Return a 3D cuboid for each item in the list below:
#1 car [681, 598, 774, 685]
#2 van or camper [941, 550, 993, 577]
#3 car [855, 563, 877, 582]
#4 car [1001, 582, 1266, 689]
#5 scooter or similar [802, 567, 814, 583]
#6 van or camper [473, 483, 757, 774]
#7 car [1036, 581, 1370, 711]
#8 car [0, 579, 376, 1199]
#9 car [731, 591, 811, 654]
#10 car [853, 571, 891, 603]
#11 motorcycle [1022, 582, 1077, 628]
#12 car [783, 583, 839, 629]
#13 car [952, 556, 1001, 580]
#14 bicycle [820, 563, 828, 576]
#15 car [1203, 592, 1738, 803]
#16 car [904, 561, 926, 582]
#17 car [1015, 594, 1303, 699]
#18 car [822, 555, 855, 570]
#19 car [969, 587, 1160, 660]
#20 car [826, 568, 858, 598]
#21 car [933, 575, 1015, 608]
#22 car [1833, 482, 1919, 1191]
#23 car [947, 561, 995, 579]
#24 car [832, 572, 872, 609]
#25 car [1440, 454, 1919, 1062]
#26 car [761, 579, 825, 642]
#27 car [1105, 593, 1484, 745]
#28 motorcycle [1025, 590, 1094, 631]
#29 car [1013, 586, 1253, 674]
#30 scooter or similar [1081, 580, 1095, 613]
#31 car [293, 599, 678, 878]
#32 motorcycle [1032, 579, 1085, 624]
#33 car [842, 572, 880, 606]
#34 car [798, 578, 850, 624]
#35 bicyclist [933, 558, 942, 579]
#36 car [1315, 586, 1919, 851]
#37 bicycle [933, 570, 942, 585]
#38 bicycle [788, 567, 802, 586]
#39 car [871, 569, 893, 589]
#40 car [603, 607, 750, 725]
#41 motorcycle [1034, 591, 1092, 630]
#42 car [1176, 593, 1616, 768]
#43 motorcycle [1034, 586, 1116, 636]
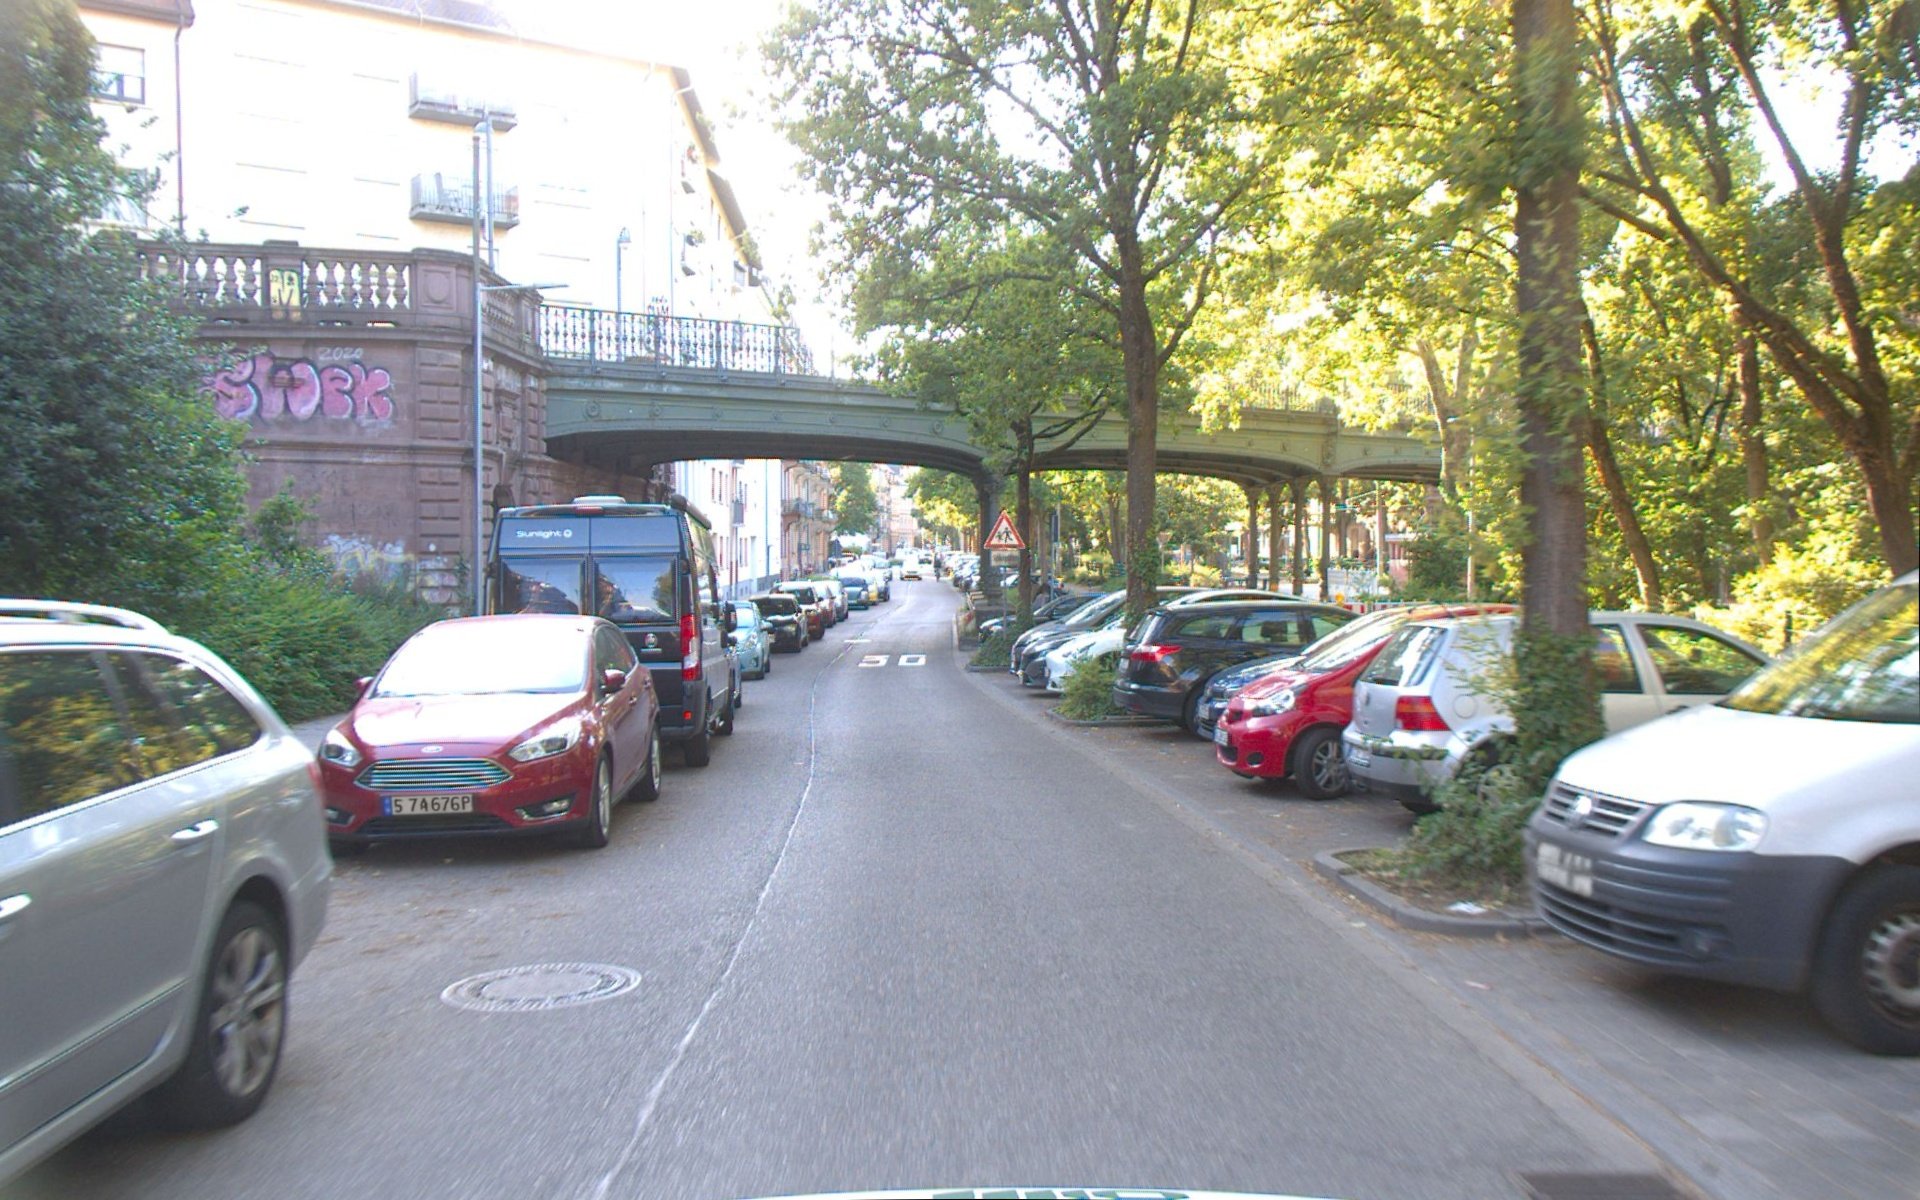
[{"bbox_3d":[-4.688,0.796,33.779,1.563,1.574,3.912,-2,1,-4],"label":"car"},{"bbox_3d":[0.696,-3.490,159.181,4.882,2.419,2.183,1,0,-4],"label":"van or camper"},{"bbox_3d":[-7.905,-2.351,139.009,1.640,1.479,4.210,-2,2,-1],"label":"car"},{"bbox_3d":[2.968,0.601,28.784,4.290,1.738,1.905,1,0,-6],"label":"car"},{"bbox_3d":[-12.013,-1.993,130.687,0.767,1.243,2.703,1,0,-2],"label":"scooter or similar"},{"bbox_3d":[-3.461,0.259,17.938,2.192,2.567,6.415,1,0,-5],"label":"van or camper"},{"bbox_3d":[3.397,0.634,23.707,4.442,1.725,1.906,1,0,-4],"label":"car"},{"bbox_3d":[-2.822,0.745,3.273,1.664,1.523,4.549,-2,0,0],"label":"car"},{"bbox_3d":[-4.952,0.554,43.717,1.682,1.489,4.000,-1,1,-1],"label":"car"},{"bbox_3d":[-4.438,-0.669,84.120,1.704,1.505,4.000,-1,2,0],"label":"car"},{"bbox_3d":[2.844,0.163,52.520,1.566,1.433,0.713,1,0,19],"label":"motorcycle"},{"bbox_3d":[-5.111,0.167,57.145,1.655,1.466,4.000,-1,1,-1],"label":"car"},{"bbox_3d":[1.374,-2.758,142.225,4.134,1.896,1.762,-2,2,-1],"label":"car"},{"bbox_3d":[-12.648,-2.821,153.747,0.691,1.167,1.888,1,0,-5],"label":"bicycle"},{"bbox_3d":[4.105,0.764,13.645,3.908,1.601,1.586,1,0,-4],"label":"car"},{"bbox_3d":[-3.672,-2.348,135.120,1.634,1.455,4.001,-3,3,-1],"label":"car"},{"bbox_3d":[3.091,0.711,26.276,4.287,1.559,1.875,1,0,-4],"label":"car"},{"bbox_3d":[-15.044,-4.653,205.377,3.905,1.736,2.000,1,0,-1],"label":"car"},{"bbox_3d":[2.395,0.536,38.597,4.287,1.605,1.673,1,0,-4],"label":"car"},{"bbox_3d":[-6.741,-0.996,94.842,1.635,1.534,3.999,3,2,-2],"label":"car"},{"bbox_3d":[0.649,-0.395,76.185,3.705,1.426,1.827,-1,0,-1],"label":"car"},{"bbox_3d":[4.360,0.622,3.650,3.904,1.788,1.799,1,0,2],"label":"car"},{"bbox_3d":[0.949,-2.680,146.511,4.132,1.478,1.650,-2,2,2],"label":"car"},{"bbox_3d":[-4.761,-0.422,73.282,1.534,1.544,3.783,-1,1,0],"label":"car"},{"bbox_3d":[4.487,0.431,6.499,4.579,1.958,1.871,-3,0,-3],"label":"car"},{"bbox_3d":[-4.962,0.280,49.607,1.683,1.737,4.320,-1,1,-3],"label":"car"},{"bbox_3d":[3.725,0.755,18.772,3.941,1.601,1.586,1,0,-4],"label":"car"},{"bbox_3d":[2.905,0.308,48.227,1.808,1.152,0.844,1,0,-25],"label":"motorcycle"},{"bbox_3d":[3.283,0.561,31.982,4.491,1.634,1.735,0,0,2],"label":"car"},{"bbox_3d":[5.109,-0.134,65.874,0.467,1.321,1.326,1,0,1],"label":"scooter or similar"},{"bbox_3d":[-3.078,0.793,11.608,1.665,1.533,4.226,-2,0,-3],"label":"car"},{"bbox_3d":[3.172,0.046,53.441,1.566,1.433,0.713,1,0,19],"label":"motorcycle"},{"bbox_3d":[-4.714,-0.553,79.242,1.668,1.551,3.773,-1,1,-2],"label":"car"},{"bbox_3d":[-5.040,0.012,61.670,1.603,1.492,4.000,-3,1,-1],"label":"car"},{"bbox_3d":[-1.757,-2.472,129.446,0.615,1.600,0.802,1,0,-3],"label":"bicyclist"},{"bbox_3d":[4.522,0.742,11.137,3.905,1.601,1.666,1,0,0],"label":"car"},{"bbox_3d":[-1.766,-1.775,129.497,0.628,1.119,1.943,1,0,-3],"label":"bicycle"},{"bbox_3d":[-11.256,-1.618,112.689,0.722,1.227,2.514,1,2,-1],"label":"bicycle"},{"bbox_3d":[-6.258,-1.691,133.095,1.473,1.459,2.754,-1,2,3],"label":"car"},{"bbox_3d":[-3.968,0.875,23.775,1.710,1.492,4.371,1,0,-5],"label":"car"},{"bbox_3d":[3.072,0.309,49.514,1.575,1.152,0.709,1,0,-18],"label":"motorcycle"},{"bbox_3d":[4.228,0.764,16.379,3.908,1.601,1.586,1,0,-4],"label":"car"},{"bbox_3d":[2.948,0.277,42.487,1.907,1.259,0.897,1,0,-27],"label":"motorcycle"}]
